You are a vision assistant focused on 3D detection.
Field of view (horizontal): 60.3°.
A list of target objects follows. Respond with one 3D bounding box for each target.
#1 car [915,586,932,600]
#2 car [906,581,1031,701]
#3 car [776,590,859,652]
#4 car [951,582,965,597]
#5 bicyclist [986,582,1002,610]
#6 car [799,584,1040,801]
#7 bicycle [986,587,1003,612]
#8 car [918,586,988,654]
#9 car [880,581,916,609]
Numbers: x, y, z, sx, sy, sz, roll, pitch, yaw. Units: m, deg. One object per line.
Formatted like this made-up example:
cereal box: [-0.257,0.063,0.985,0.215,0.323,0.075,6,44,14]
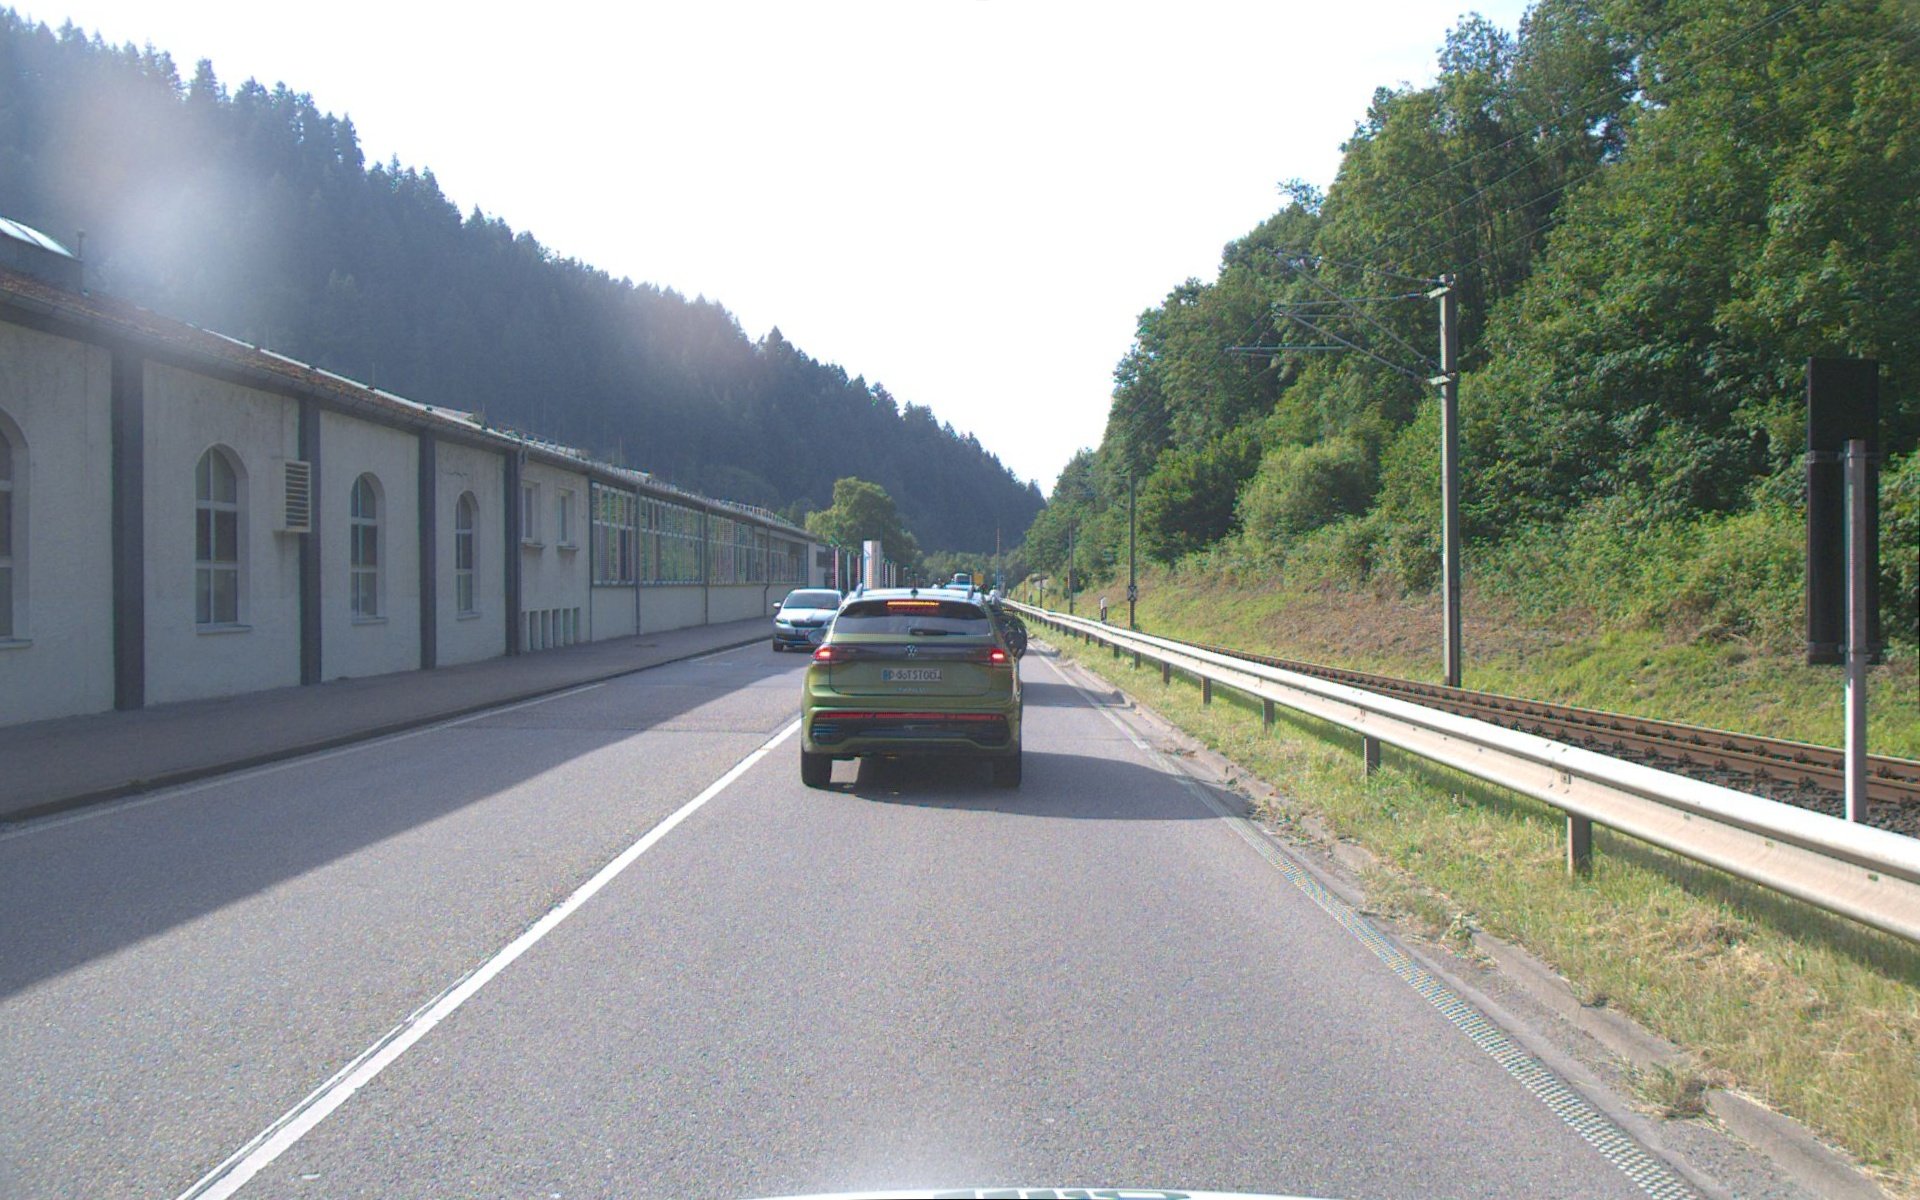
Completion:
car: [-3.982,-0.757,179.920,1.684,1.540,4.198,1,0,0]
car: [0.088,0.556,24.803,1.704,1.630,3.999,1,0,-1]
car: [-3.420,0.468,40.213,1.704,1.417,4.109,1,0,-1]
car: [-0.295,-1.514,242.048,1.953,2.049,3.999,1,0,-1]
bicyclist: [1.771,-0.194,85.680,0.766,1.436,0.675,0,0,-2]
car: [-0.314,0.650,13.777,1.704,1.534,3.999,0,0,-1]
bicycle: [1.770,-0.039,85.546,0.795,1.272,2.122,0,0,-2]
car: [-0.199,0.476,42.178,1.704,1.630,3.999,1,0,-1]
car: [-3.681,-0.295,98.806,1.890,1.609,4.458,2,0,0]
